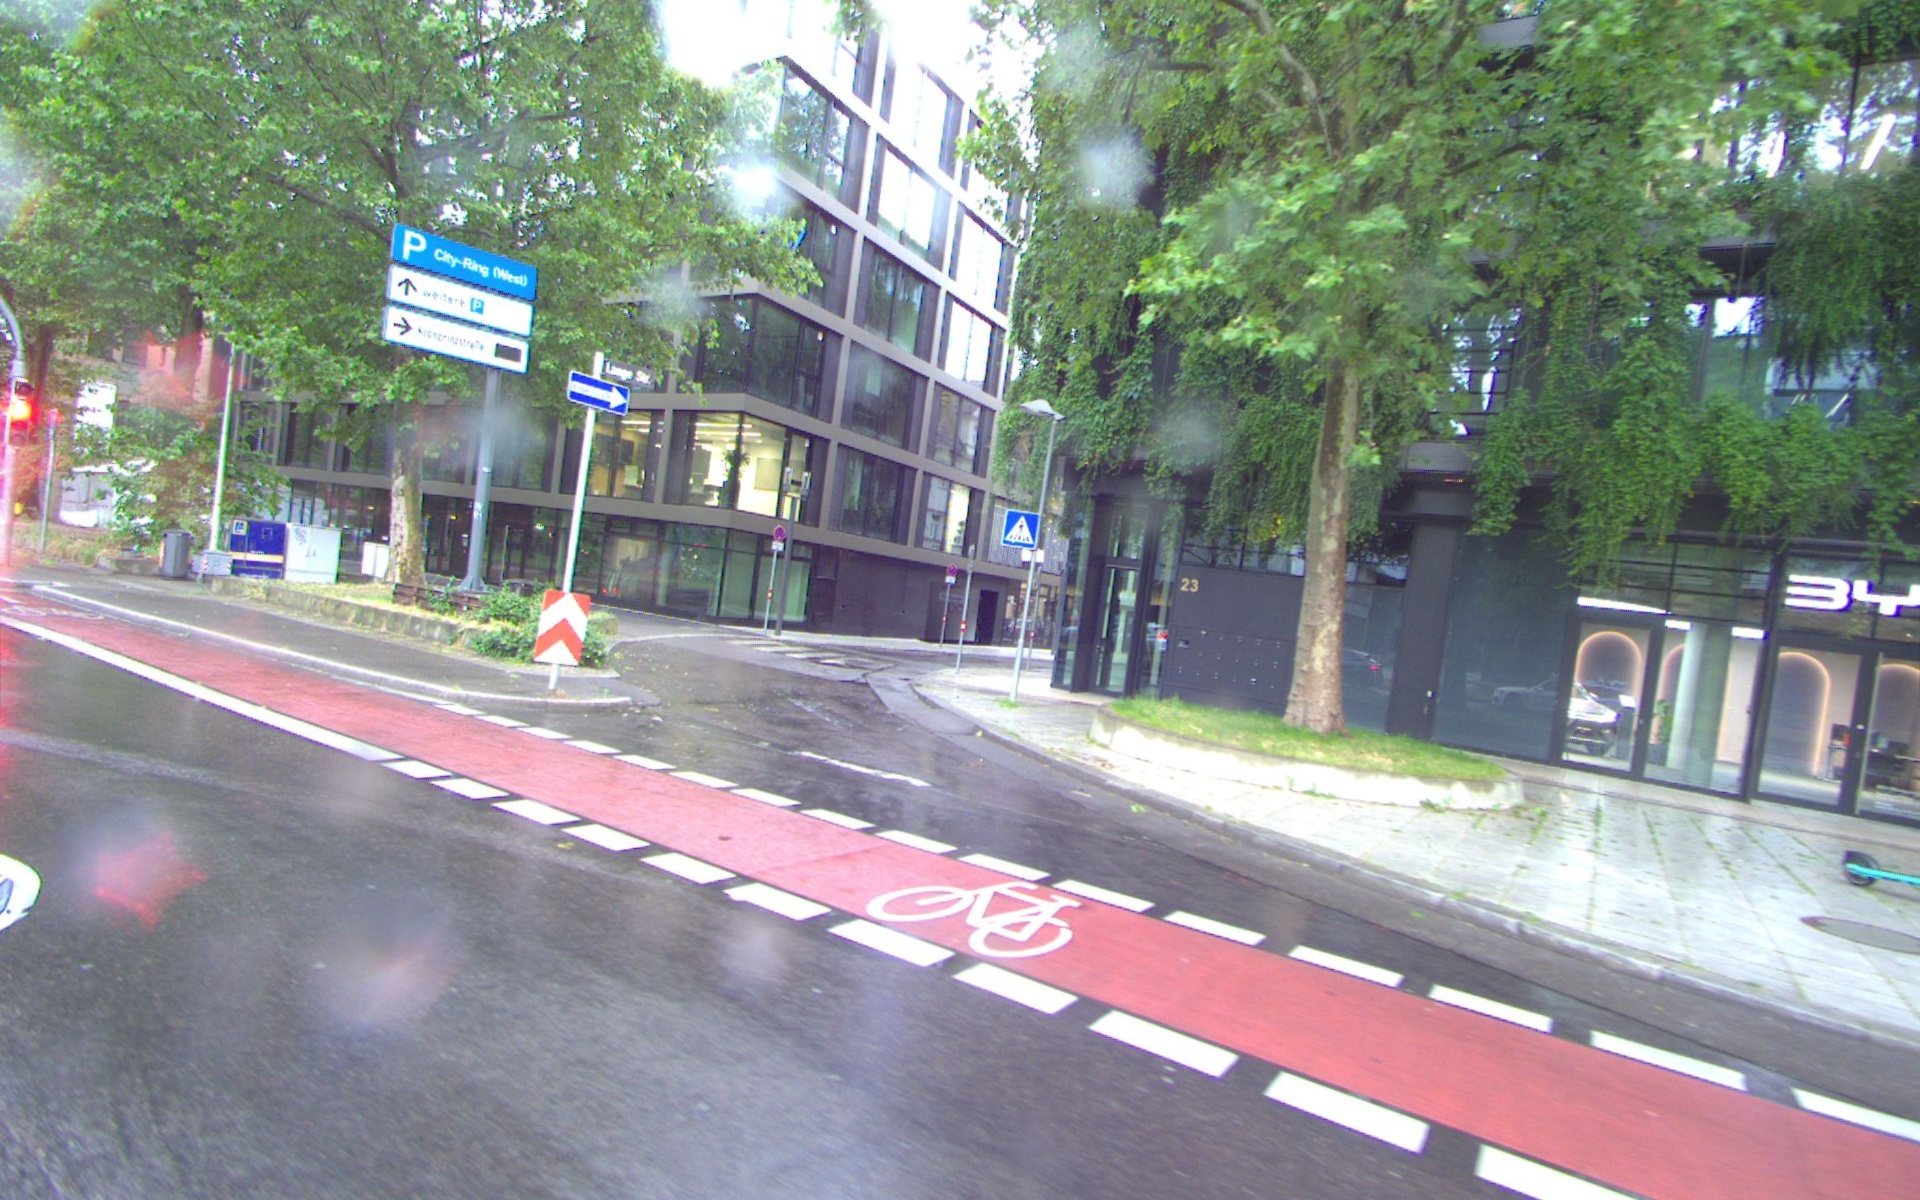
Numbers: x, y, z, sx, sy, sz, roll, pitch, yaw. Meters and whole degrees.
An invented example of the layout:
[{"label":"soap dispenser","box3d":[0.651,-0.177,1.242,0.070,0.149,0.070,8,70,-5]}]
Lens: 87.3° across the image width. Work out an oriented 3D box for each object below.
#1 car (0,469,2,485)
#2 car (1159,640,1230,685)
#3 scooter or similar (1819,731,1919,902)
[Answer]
[{"label":"car","box3d":[-12.614,-0.835,11.155,3.935,1.717,1.881,6,-2,33]},{"label":"car","box3d":[10.382,2.790,44.330,1.814,1.607,3.997,6,-2,30]},{"label":"scooter or similar","box3d":[8.038,1.831,8.383,0.528,1.297,1.183,7,-1,-8]}]
